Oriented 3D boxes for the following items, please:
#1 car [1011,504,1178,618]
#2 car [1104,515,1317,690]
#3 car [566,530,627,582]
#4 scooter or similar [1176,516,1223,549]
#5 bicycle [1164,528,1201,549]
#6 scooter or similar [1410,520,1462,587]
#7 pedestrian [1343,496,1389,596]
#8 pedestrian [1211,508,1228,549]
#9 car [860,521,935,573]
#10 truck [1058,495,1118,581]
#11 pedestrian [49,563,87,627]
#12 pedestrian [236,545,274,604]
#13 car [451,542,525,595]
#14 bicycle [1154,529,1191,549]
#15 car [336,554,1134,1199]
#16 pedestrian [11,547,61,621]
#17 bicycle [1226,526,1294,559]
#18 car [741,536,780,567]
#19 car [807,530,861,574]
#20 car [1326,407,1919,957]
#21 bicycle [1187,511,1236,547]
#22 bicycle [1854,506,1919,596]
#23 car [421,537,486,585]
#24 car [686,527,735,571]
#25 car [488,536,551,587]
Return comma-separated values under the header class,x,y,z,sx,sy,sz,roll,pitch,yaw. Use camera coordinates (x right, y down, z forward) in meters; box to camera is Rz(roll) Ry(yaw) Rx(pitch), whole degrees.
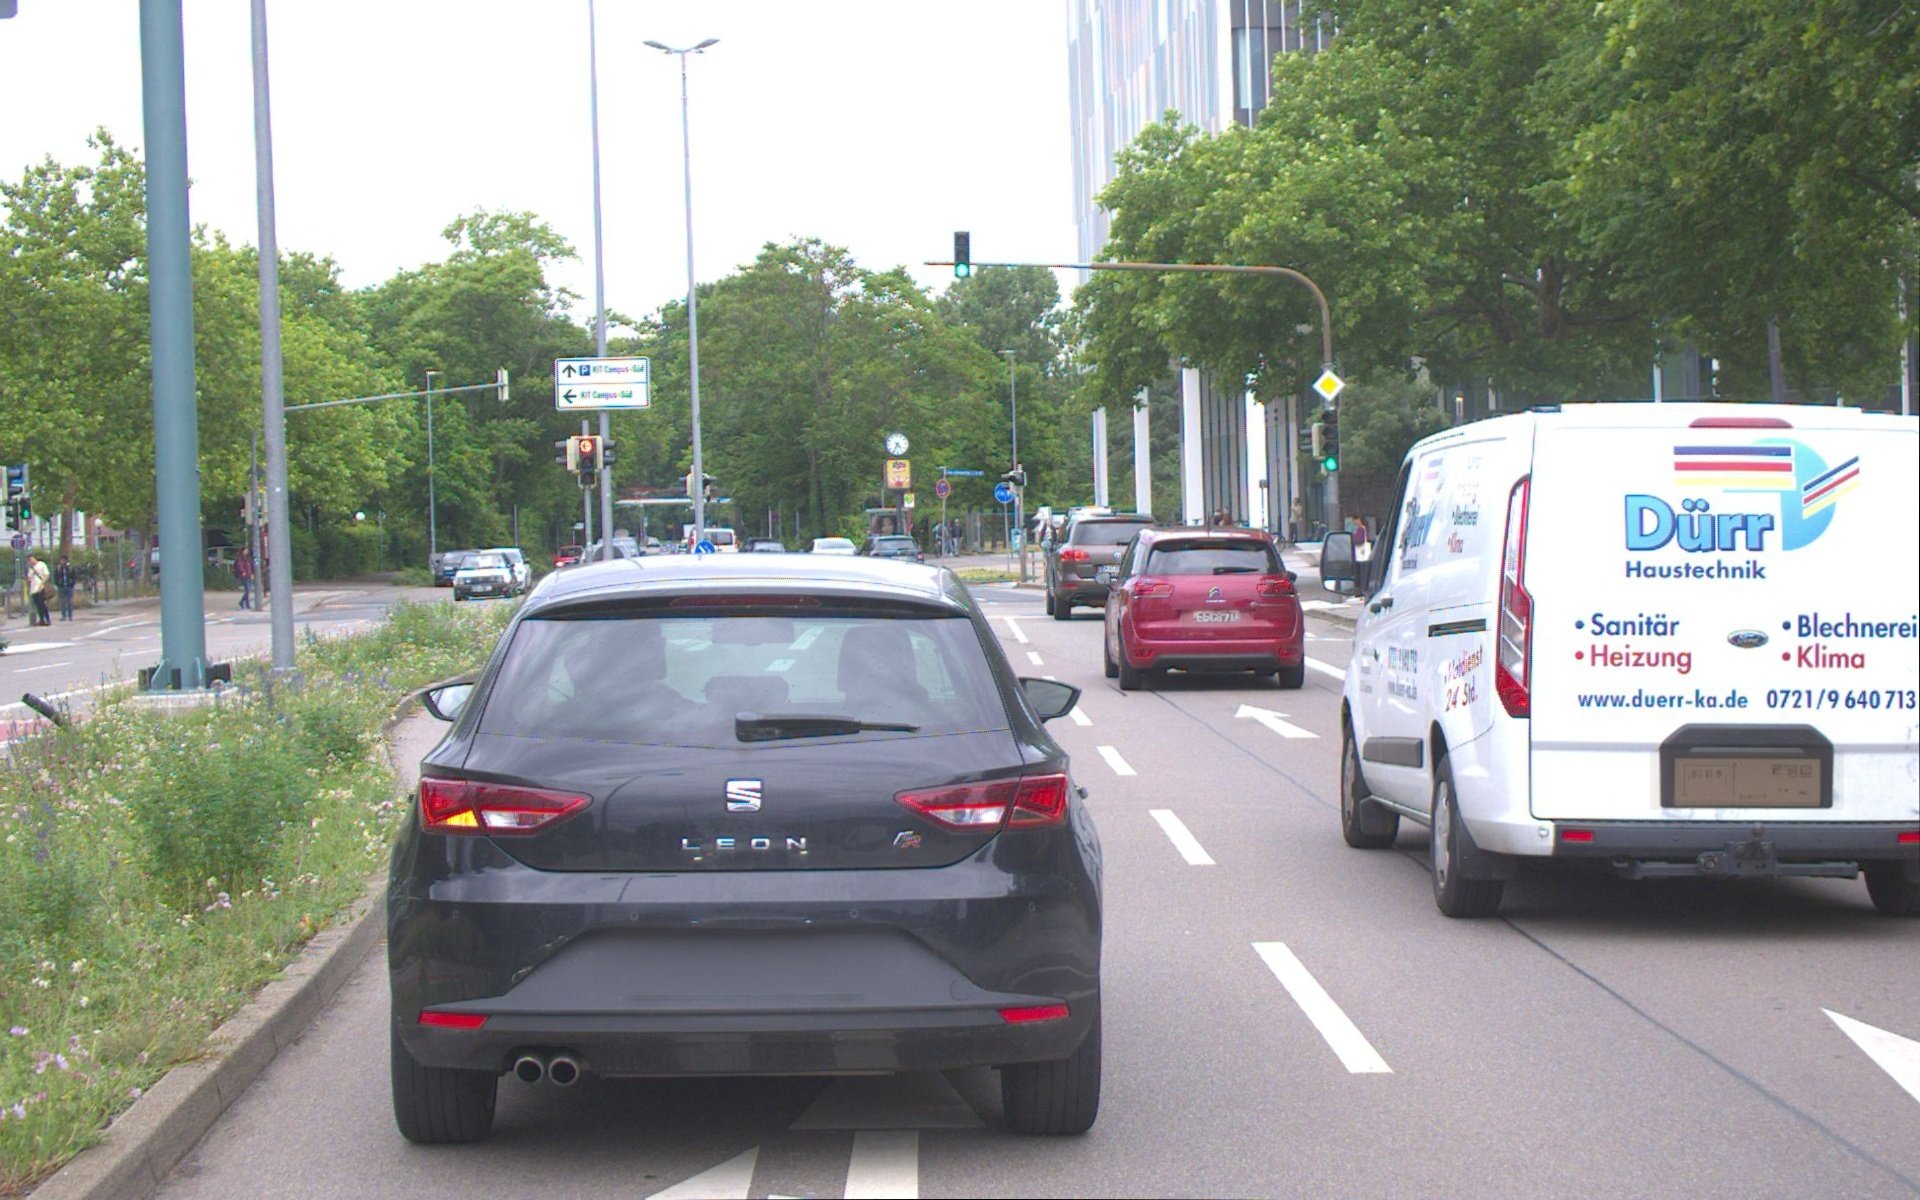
class,x,y,z,sx,sy,sz,roll,pitch,yaw
car,2.107,-0.652,55.147,1.914,1.658,4.116,-3,2,-8
car,2.464,-0.025,34.645,1.949,1.618,3.749,0,2,1
car,-11.288,-1.358,106.772,1.763,1.455,4.792,-4,1,-6
scooter or similar,8.824,-2.490,126.666,1.671,1.103,0.498,-4,2,-32
bicycle,8.595,-2.374,132.553,1.374,0.703,0.416,-3,2,2
scooter or similar,8.968,-0.886,64.731,0.433,1.175,1.702,-3,2,24
pedestrian,7.158,-0.949,60.574,0.456,1.733,0.556,-4,2,-39
pedestrian,8.840,-2.424,117.058,0.472,1.357,0.445,-3,2,10
car,-1.825,-1.550,99.949,1.898,1.349,3.883,-3,2,-4
truck,3.482,-1.711,93.884,1.317,2.235,3.402,-3,2,-1
pedestrian,-22.410,-0.129,86.386,0.789,1.553,0.699,-2,-2,-21
pedestrian,-19.302,-0.699,94.147,0.874,1.580,0.544,-3,2,-7
car,-13.687,-0.940,99.863,1.608,1.376,3.809,-3,2,0
bicycle,8.305,-2.391,134.349,1.375,0.703,0.489,-3,2,8
car,-0.535,0.599,9.481,1.753,1.427,3.769,0,1,-1
pedestrian,-22.629,-0.400,84.179,0.840,1.734,0.830,-1,-4,-39
bicycle,9.117,-1.735,104.544,1.886,0.895,0.697,-4,2,-21
car,-8.285,-2.012,142.325,1.505,1.189,3.164,-3,2,-4
car,-4.213,-1.600,114.161,1.615,1.349,4.001,-2,2,-4
car,2.765,0.236,14.462,1.966,1.965,4.344,0,2,0
bicycle,9.238,-2.610,126.086,1.773,1.207,0.570,-4,2,-34
bicycle,12.471,-0.645,44.477,0.848,1.123,1.924,-4,2,-15
car,-19.821,-1.542,134.555,1.906,1.711,4.001,-3,2,-1
car,-9.322,-1.917,128.272,1.695,1.498,4.011,-3,2,-5
car,-13.658,-1.207,106.783,1.704,1.426,4.228,-3,2,-5
